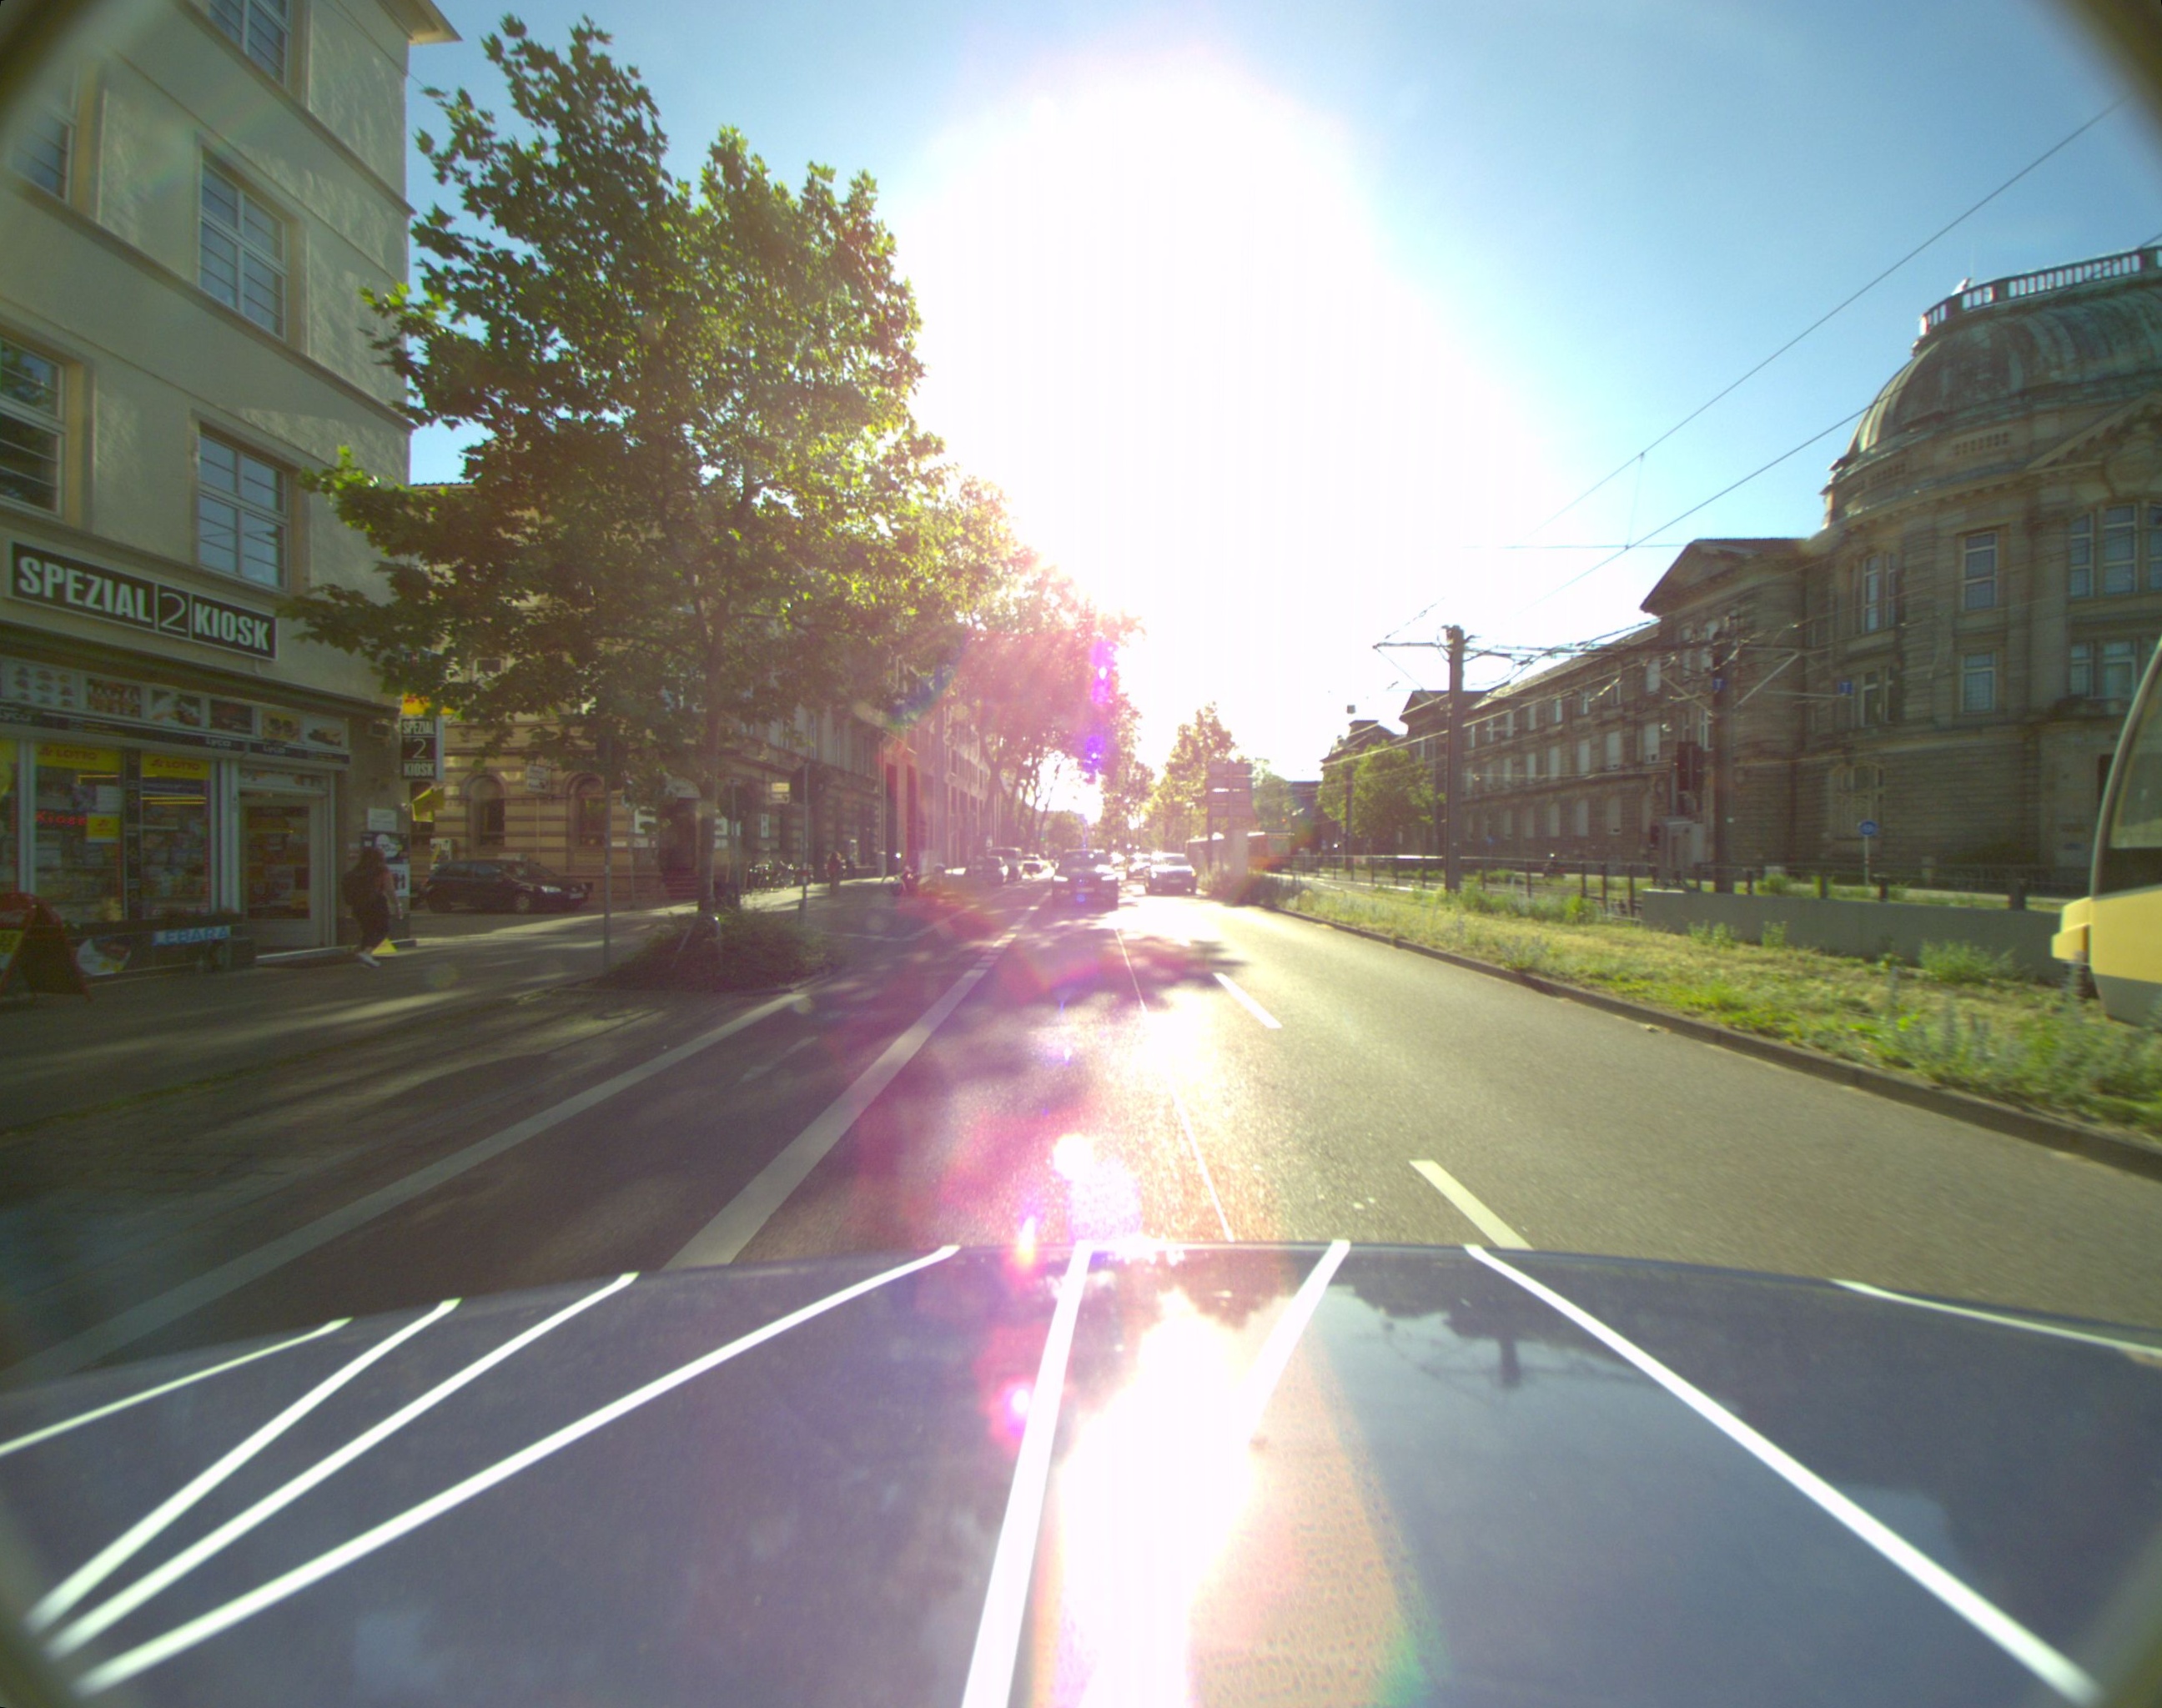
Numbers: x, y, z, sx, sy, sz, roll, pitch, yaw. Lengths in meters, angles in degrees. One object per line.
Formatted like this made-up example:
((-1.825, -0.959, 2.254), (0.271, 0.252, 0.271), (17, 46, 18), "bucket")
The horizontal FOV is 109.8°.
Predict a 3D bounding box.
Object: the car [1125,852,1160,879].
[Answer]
((3.693, 0.660, 46.009), (1.798, 1.420, 4.000), (-2, 1, 1), "car")

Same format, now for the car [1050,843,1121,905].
((0.140, 0.532, 23.625), (1.949, 1.690, 5.306), (-1, 0, 0), "car")

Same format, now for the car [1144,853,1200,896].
((3.376, 0.729, 28.878), (1.777, 1.440, 3.869), (-1, 0, 2), "car")

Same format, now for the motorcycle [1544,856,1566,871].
((26.627, 0.525, 42.720), (0.369, 0.779, 1.522), (-2, 1, 3), "motorcycle")

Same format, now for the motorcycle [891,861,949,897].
((-5.882, 0.898, 27.816), (1.954, 1.224, 0.515), (-2, 1, -2), "motorcycle")

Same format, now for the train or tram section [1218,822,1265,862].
((14.787, -1.075, 70.375), (2.964, 3.463, 6.059), (-2, 0, -1), "train or tram section")

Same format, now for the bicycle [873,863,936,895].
((-6.637, 0.938, 28.656), (2.227, 1.087, 0.455), (-2, 1, 2), "bicycle")

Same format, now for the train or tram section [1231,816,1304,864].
((14.866, -1.061, 61.758), (2.969, 3.463, 11.285), (-2, 0, -1), "train or tram section")

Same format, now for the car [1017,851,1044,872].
((-4.007, 0.576, 61.293), (1.672, 1.561, 4.280), (-2, 1, 2), "car")

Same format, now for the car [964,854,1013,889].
((-4.550, 0.816, 38.054), (1.823, 1.506, 4.707), (-2, 1, 0), "car")

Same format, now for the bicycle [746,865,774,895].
((-11.705, 0.939, 27.721), (0.280, 1.014, 1.730), (0, 1, 1), "bicycle")

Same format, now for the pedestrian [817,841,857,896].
((-9.029, 0.533, 28.151), (1.090, 2.002, 1.046), (0, 1, 2), "pedestrian")

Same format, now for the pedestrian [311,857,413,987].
((-9.310, 0.857, 9.862), (0.683, 1.612, 0.562), (-2, 1, -2), "pedestrian")

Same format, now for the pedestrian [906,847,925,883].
((-8.556, 0.584, 39.291), (0.644, 1.817, 0.895), (-2, 1, 5), "pedestrian")

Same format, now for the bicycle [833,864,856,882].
((-11.524, 0.916, 37.070), (0.550, 0.769, 1.662), (1, 1, 1), "bicycle")

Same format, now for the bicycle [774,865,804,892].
((-11.368, 0.939, 29.628), (0.415, 0.992, 1.882), (-1, 1, 1), "bicycle")

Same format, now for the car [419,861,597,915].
((-16.048, 0.925, 21.374), (3.916, 1.403, 1.637), (-1, 0, 6), "car")

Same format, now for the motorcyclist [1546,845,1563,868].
((26.587, 0.123, 42.643), (0.515, 1.250, 0.691), (-2, 1, 5), "motorcyclist")

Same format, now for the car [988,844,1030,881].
((-4.245, 0.462, 45.541), (1.861, 2.002, 4.723), (-3, 1, 1), "car")

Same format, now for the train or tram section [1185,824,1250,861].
((14.600, -1.099, 83.995), (2.971, 3.463, 21.214), (-2, 0, -1), "train or tram section")
